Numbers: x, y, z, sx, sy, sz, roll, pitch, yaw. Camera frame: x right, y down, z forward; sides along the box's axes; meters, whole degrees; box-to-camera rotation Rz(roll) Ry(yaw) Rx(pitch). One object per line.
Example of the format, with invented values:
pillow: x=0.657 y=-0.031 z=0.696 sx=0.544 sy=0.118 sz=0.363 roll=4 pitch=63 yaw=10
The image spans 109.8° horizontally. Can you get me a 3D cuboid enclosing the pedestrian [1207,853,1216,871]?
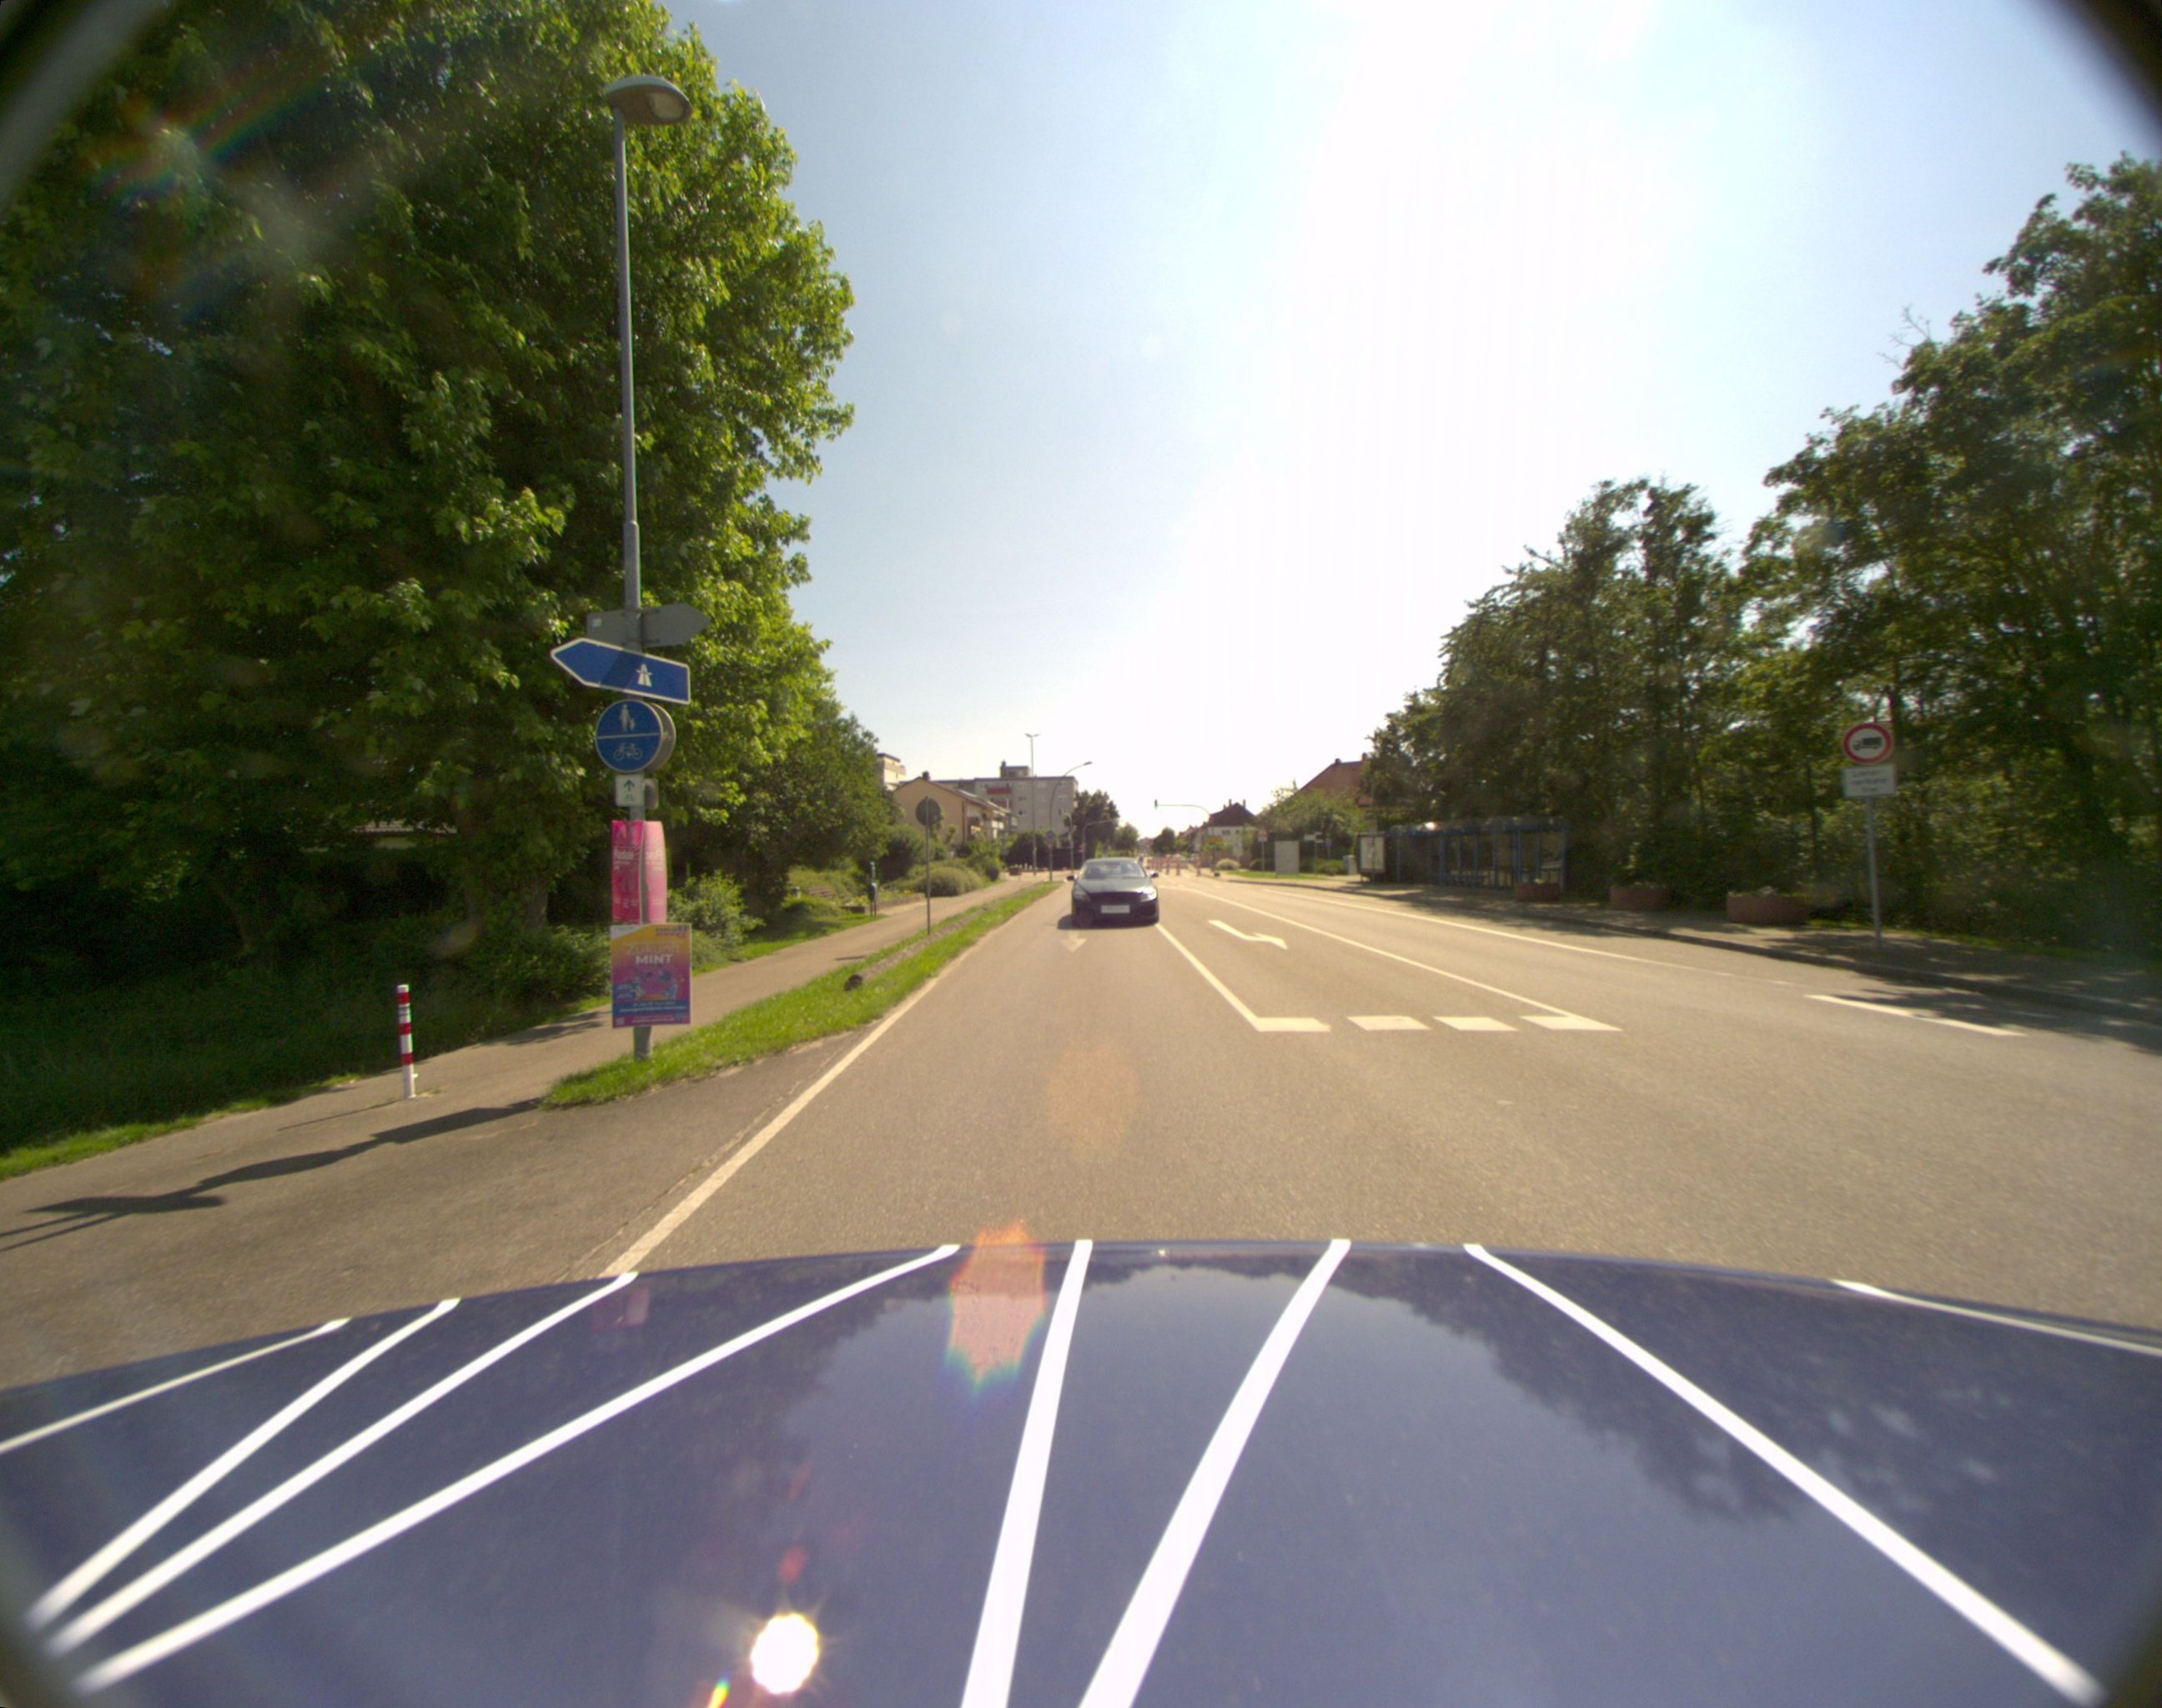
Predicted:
pedestrian: x=11.850 y=0.689 z=68.929 sx=0.615 sy=1.598 sz=0.688 roll=-4 pitch=0 yaw=5

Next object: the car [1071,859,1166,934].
car: x=0.802 y=0.898 z=18.071 sx=1.889 sy=1.429 sz=4.838 roll=-2 pitch=0 yaw=1

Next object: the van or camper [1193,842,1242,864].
van or camper: x=18.724 y=-0.137 z=104.331 sx=6.260 sy=2.827 sz=2.289 roll=-1 pitch=0 yaw=-5

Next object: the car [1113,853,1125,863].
car: x=6.060 y=0.635 z=120.463 sx=1.871 sy=1.585 sz=4.617 roll=-1 pitch=0 yaw=2
